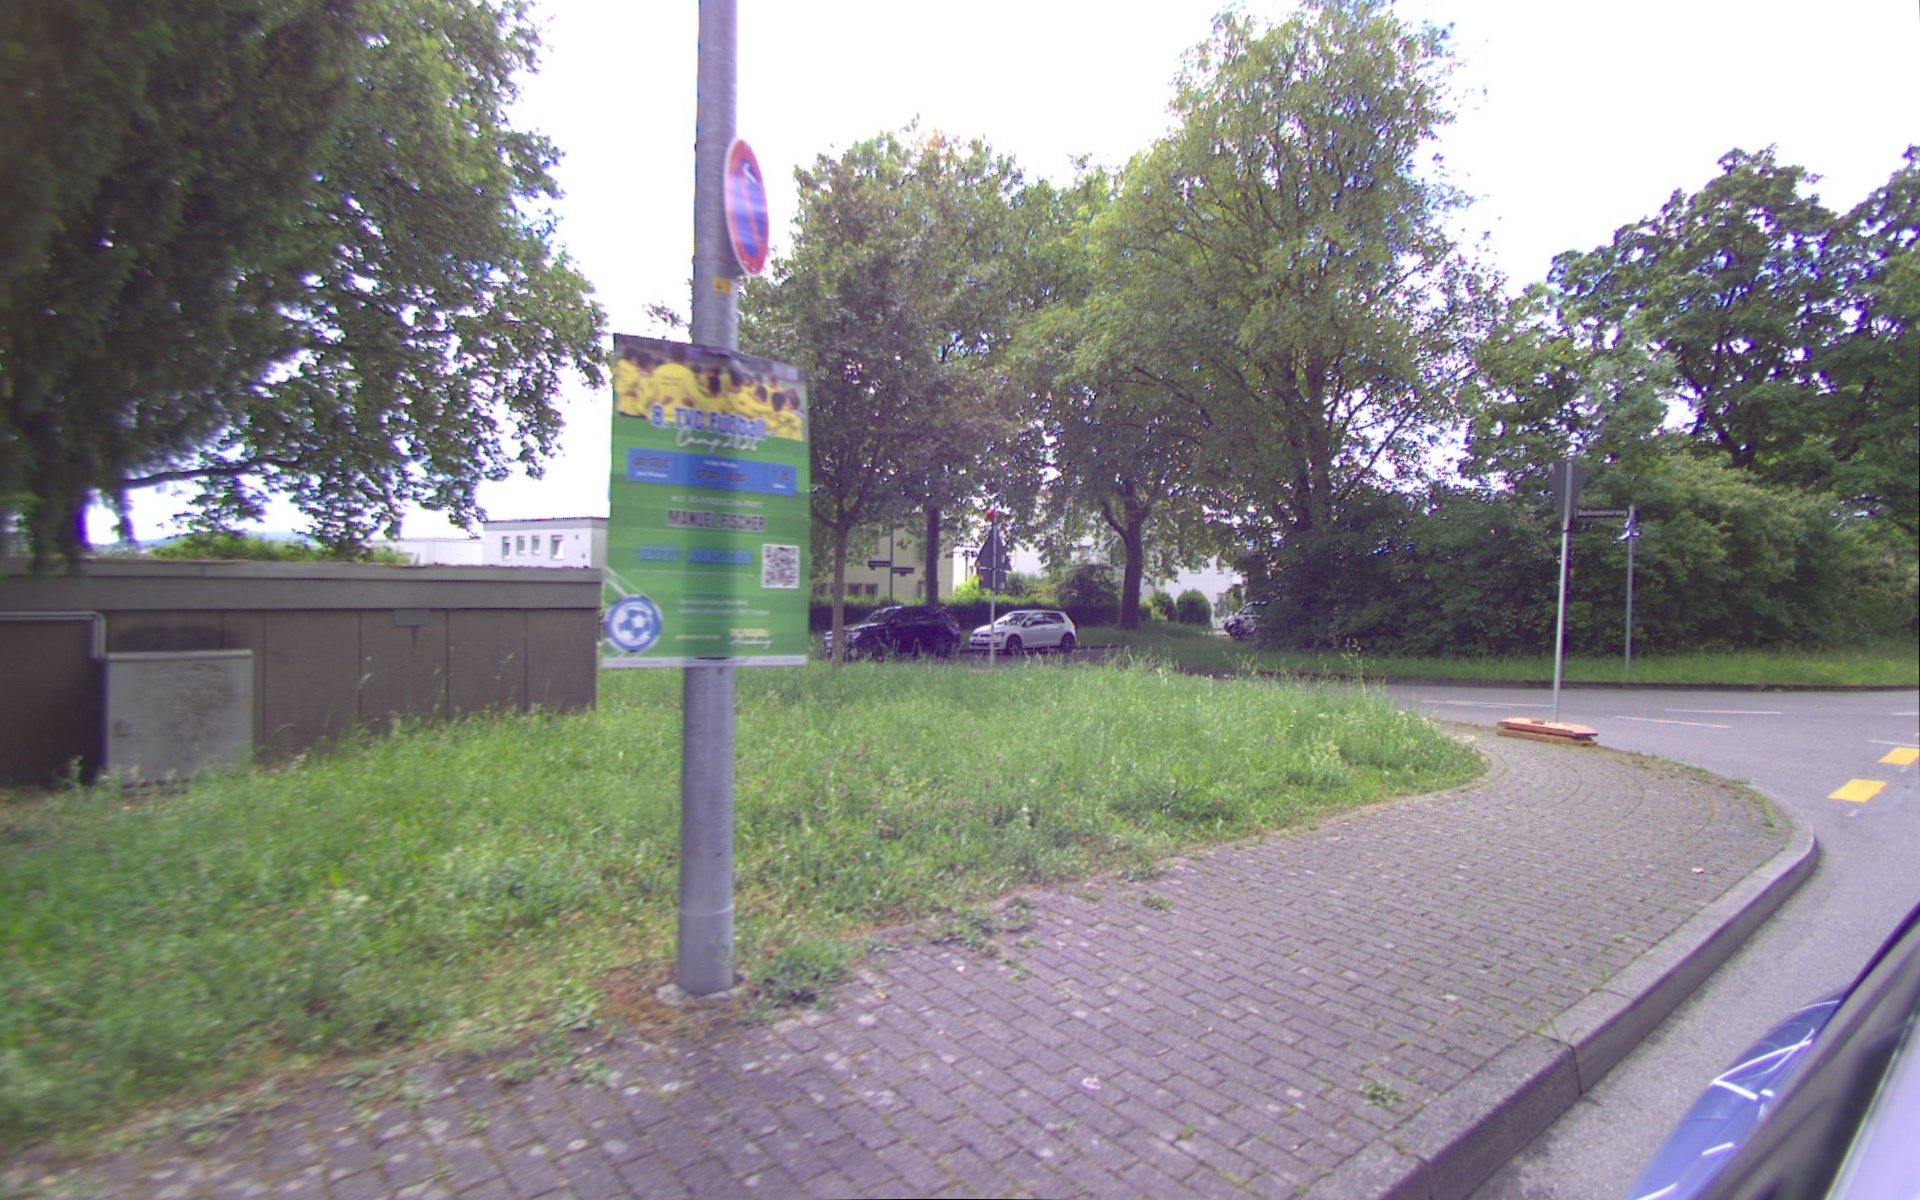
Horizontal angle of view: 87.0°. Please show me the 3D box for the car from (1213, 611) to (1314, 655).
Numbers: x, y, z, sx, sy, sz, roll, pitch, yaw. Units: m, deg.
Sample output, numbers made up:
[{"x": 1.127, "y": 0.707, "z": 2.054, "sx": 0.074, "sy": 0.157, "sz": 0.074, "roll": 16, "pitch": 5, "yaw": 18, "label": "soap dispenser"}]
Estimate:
[{"x": 15.608, "y": 1.651, "z": 52.280, "sx": 1.966, "sy": 2.039, "sz": 4.653, "roll": 1, "pitch": 1, "yaw": -42, "label": "car"}]

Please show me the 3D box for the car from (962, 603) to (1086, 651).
[{"x": 2.235, "y": 0.898, "z": 34.847, "sx": 4.169, "sy": 1.504, "sz": 1.826, "roll": 1, "pitch": 1, "yaw": -41, "label": "car"}]

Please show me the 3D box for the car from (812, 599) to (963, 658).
[{"x": -2.192, "y": 0.818, "z": 31.157, "sx": 4.367, "sy": 1.638, "sz": 1.896, "roll": 1, "pitch": 1, "yaw": -41, "label": "car"}]
